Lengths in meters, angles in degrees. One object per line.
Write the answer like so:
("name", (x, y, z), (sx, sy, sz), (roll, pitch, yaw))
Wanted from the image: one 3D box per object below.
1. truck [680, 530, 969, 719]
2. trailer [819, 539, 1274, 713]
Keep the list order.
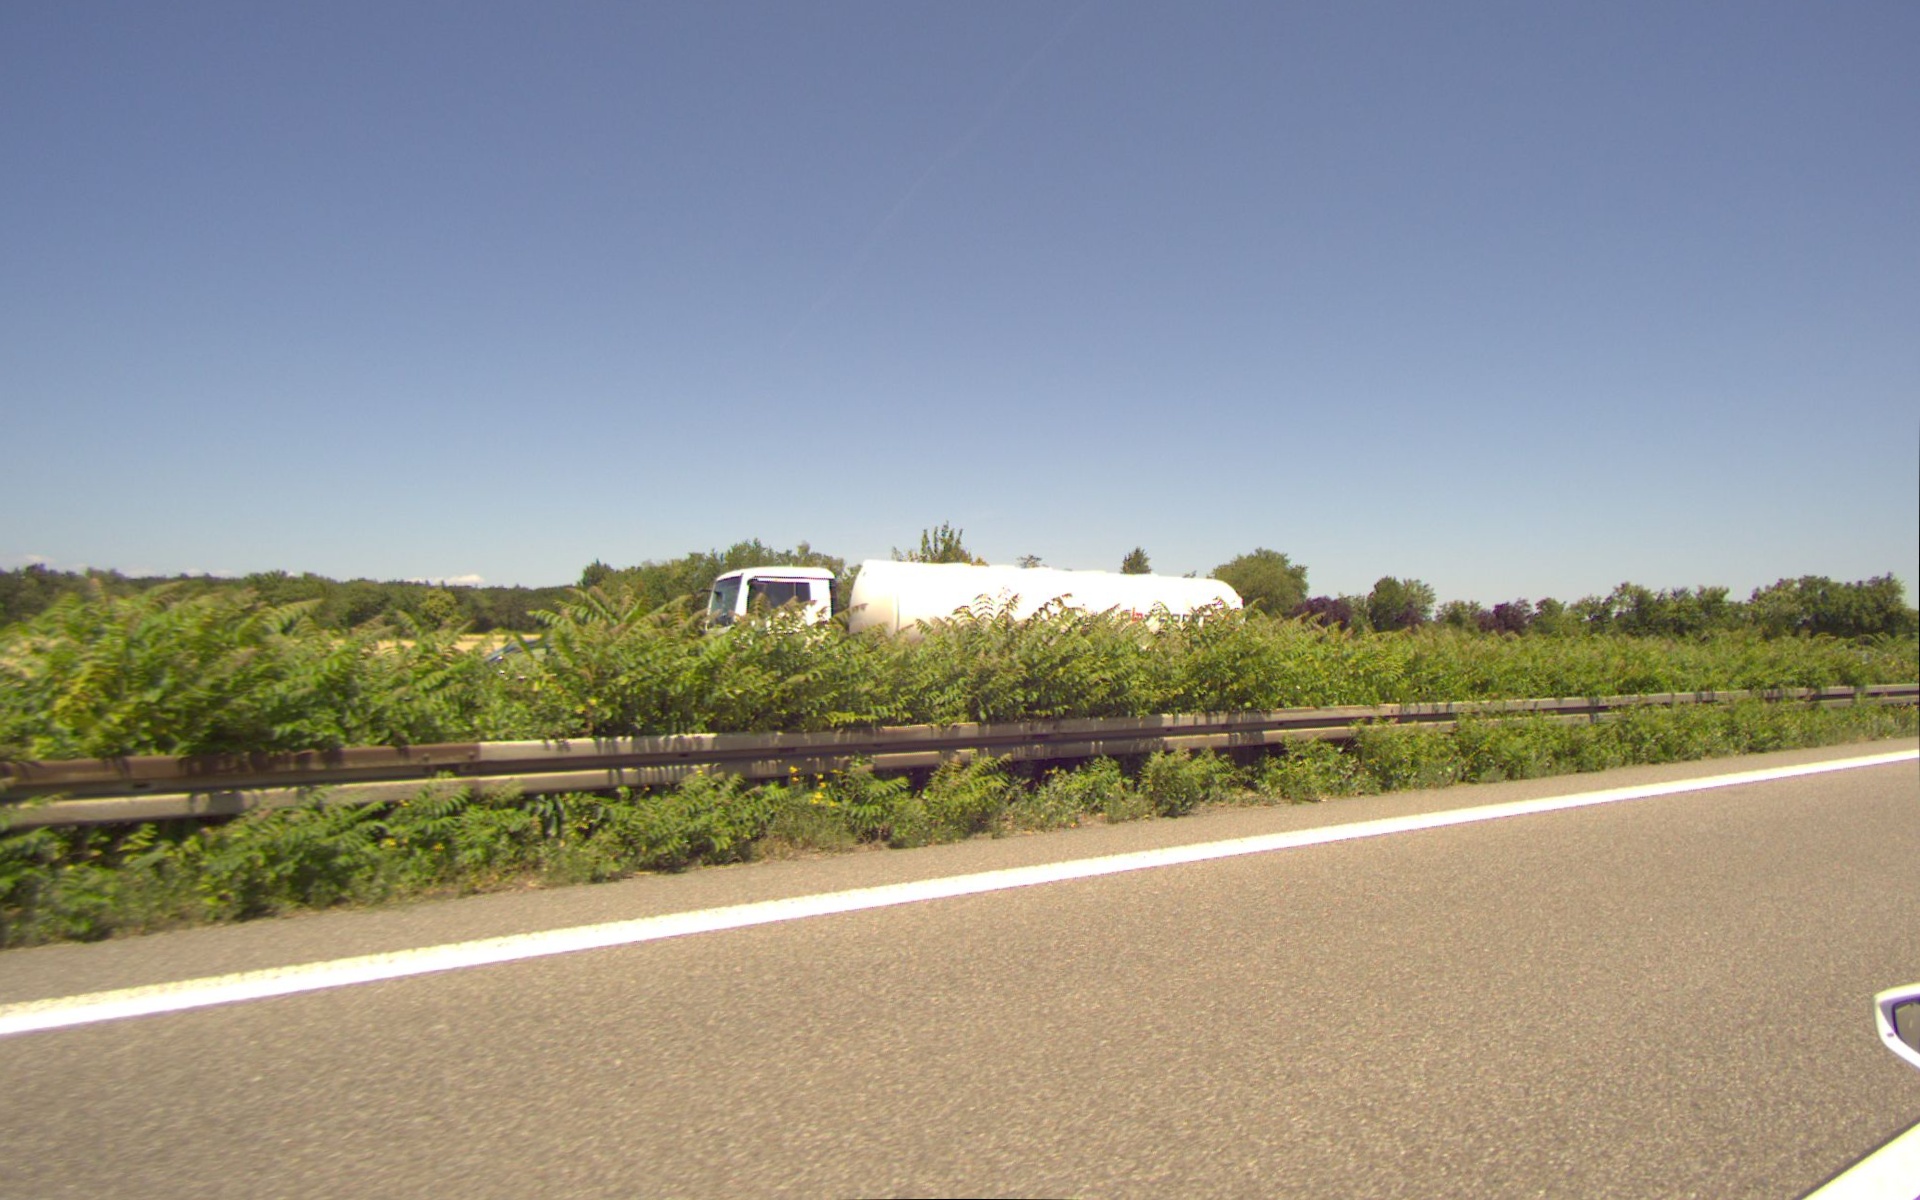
("truck", (-2.930, 0.545, 21.709), (5.372, 3.563, 3.212), (1, -1, -31))
("trailer", (2.514, 0.697, 25.004), (11.634, 3.563, 3.212), (2, -2, -31))
